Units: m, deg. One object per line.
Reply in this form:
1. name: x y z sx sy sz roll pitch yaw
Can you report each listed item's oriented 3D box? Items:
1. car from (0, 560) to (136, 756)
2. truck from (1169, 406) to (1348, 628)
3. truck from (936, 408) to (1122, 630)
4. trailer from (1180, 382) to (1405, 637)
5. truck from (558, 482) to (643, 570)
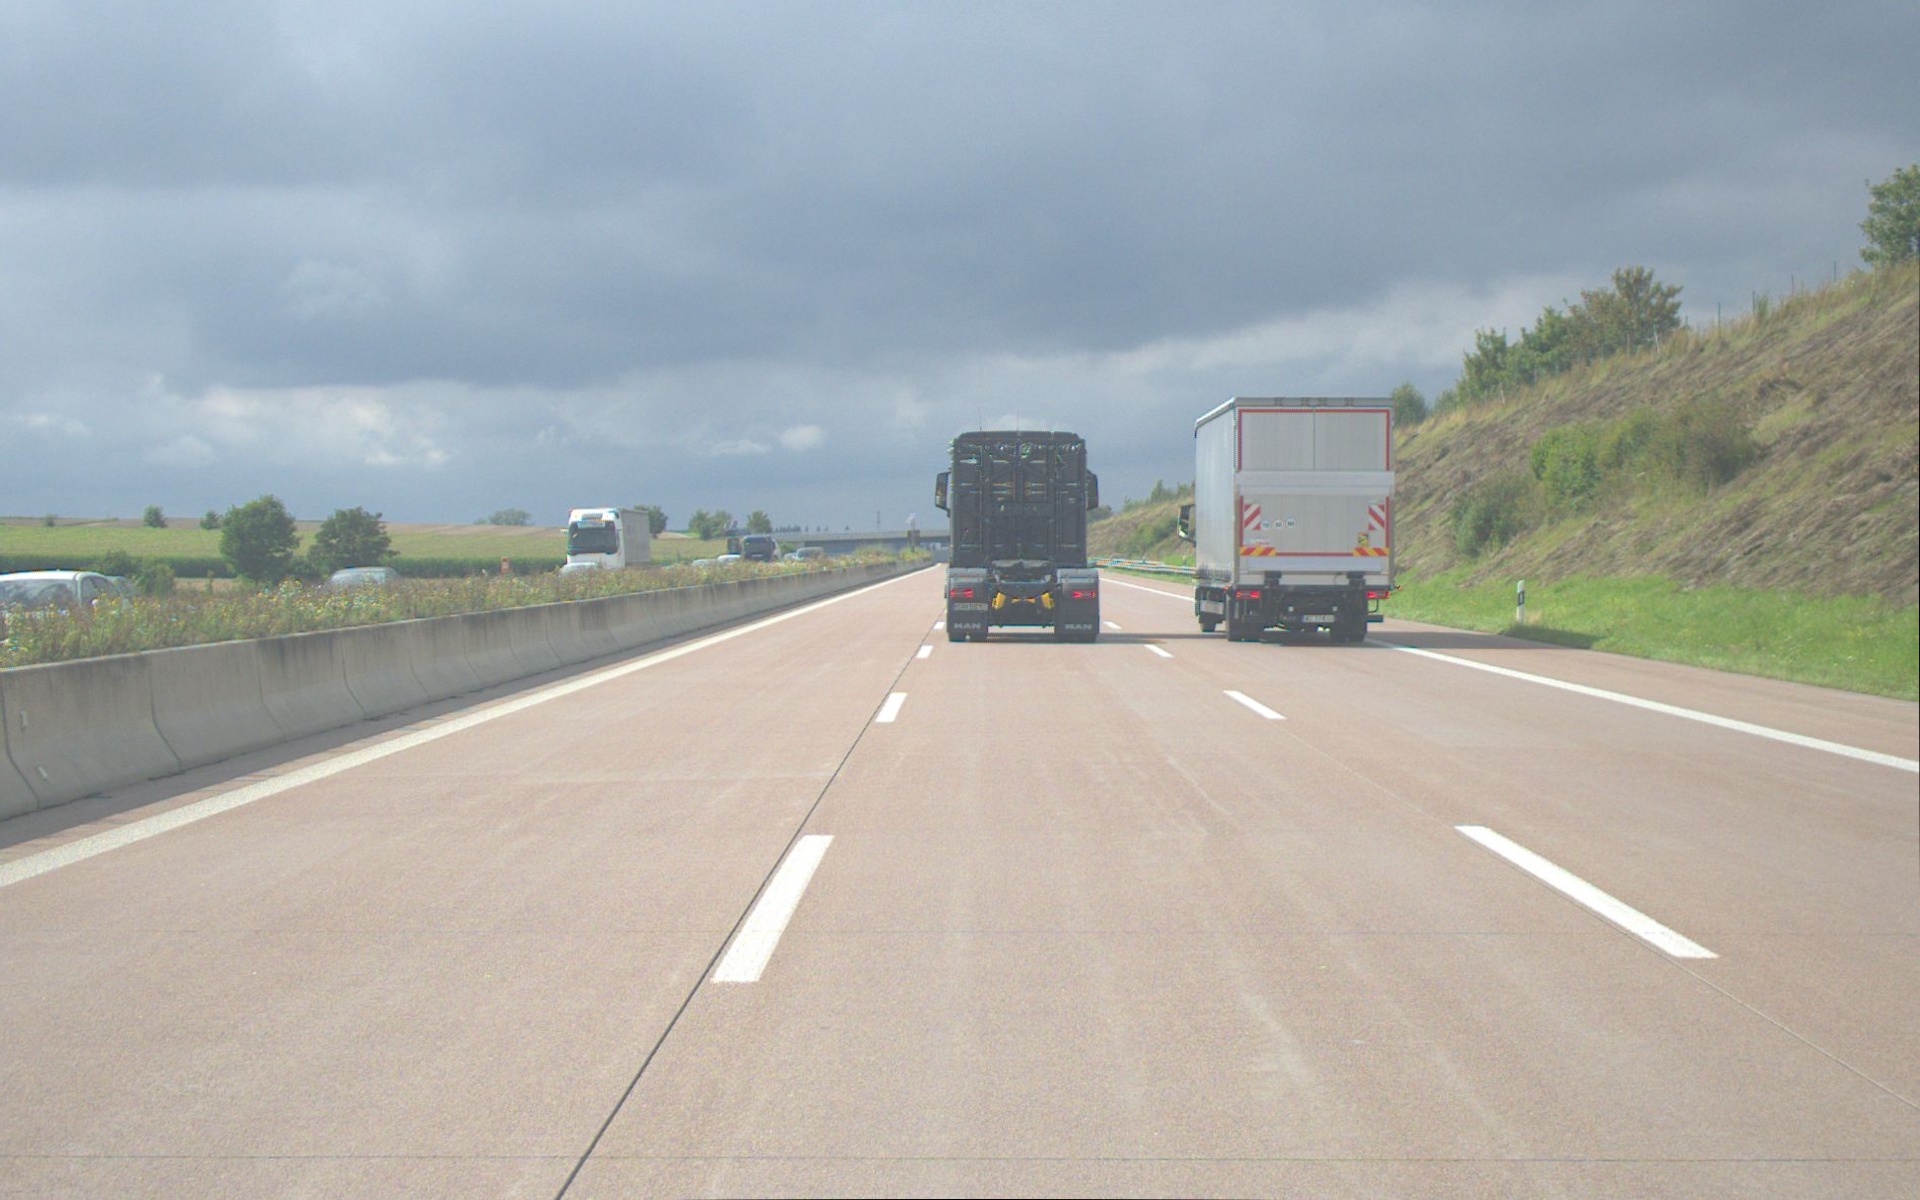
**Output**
1. car: -10.457 0.568 36.464 1.993 1.902 5.885 -2 1 0
2. truck: 5.401 -1.487 62.833 2.748 3.878 4.546 0 1 -1
3. truck: 1.075 -1.343 59.267 2.847 3.537 8.320 0 1 -1
4. trailer: 5.513 -1.477 58.474 2.747 3.998 8.671 0 1 -1
5. truck: -17.100 -3.530 163.899 3.206 4.084 6.126 1 1 1
